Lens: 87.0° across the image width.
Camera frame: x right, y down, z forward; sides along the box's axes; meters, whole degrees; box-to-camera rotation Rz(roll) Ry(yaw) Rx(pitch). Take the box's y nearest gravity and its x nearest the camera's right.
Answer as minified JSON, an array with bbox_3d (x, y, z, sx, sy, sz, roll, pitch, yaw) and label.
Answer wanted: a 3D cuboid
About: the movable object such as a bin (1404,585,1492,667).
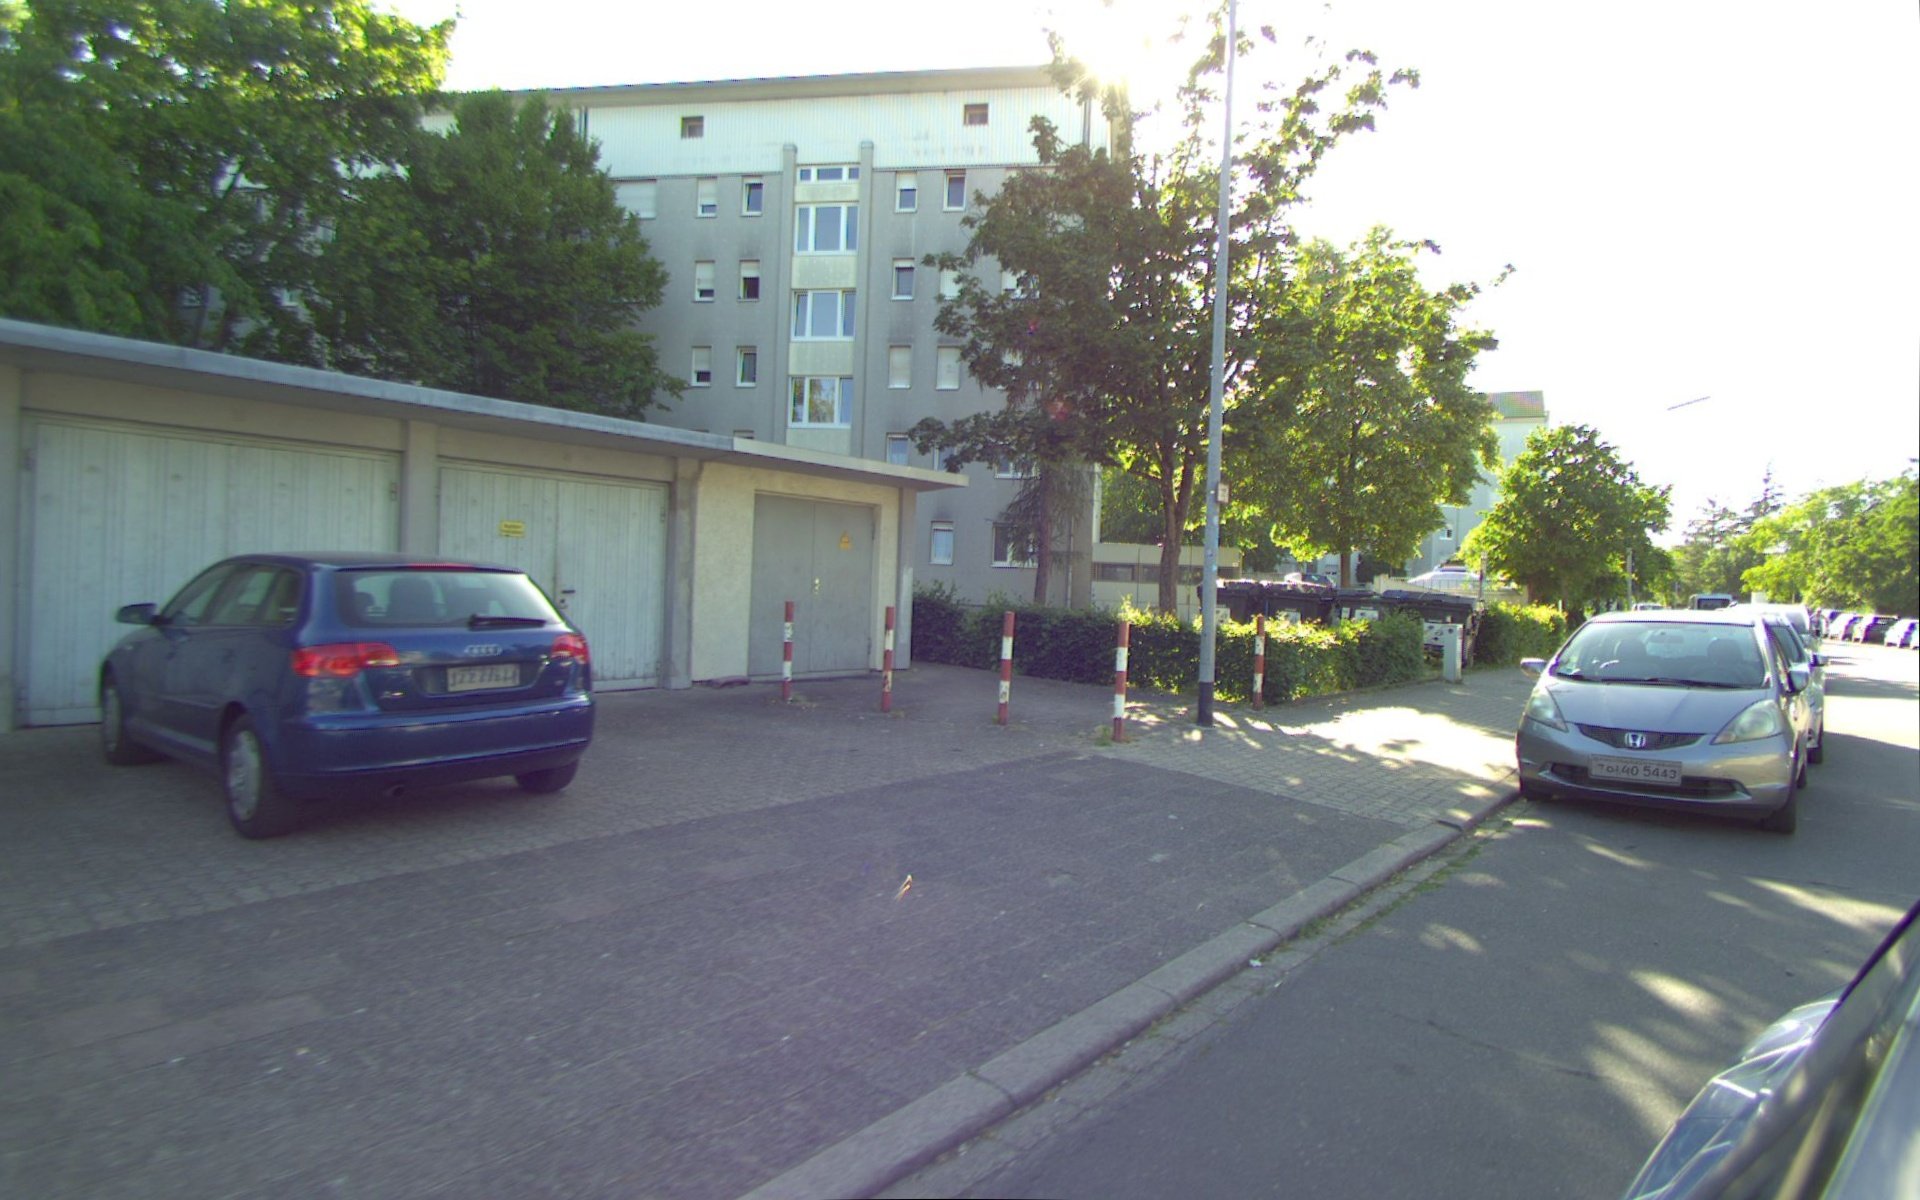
[{"bbox_3d":[9.581,0.482,19.870,1.321,1.445,1.056,6,3,35],"label":"movable object such as a bin"}]

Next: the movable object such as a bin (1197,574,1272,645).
[{"bbox_3d":[6.082,0.189,22.426,1.318,1.499,1.016,2,1,35],"label":"movable object such as a bin"}]

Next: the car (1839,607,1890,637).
[{"bbox_3d":[55.342,1.313,61.945,1.647,1.650,3.647,4,2,32],"label":"car"}]

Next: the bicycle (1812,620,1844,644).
[{"bbox_3d":[35.454,1.286,41.364,0.820,0.912,2.173,2,1,37],"label":"bicycle"}]

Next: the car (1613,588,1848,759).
[{"bbox_3d":[9.175,0.706,11.883,1.830,1.565,4.570,2,1,42],"label":"car"}]

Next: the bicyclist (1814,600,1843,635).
[{"bbox_3d":[35.483,0.709,41.356,0.808,1.373,1.076,2,1,37],"label":"bicyclist"}]

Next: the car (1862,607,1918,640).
[{"bbox_3d":[52.369,1.303,57.042,1.648,1.650,4.021,4,2,34],"label":"car"}]

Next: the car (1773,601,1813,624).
[{"bbox_3d":[63.919,0.910,77.714,1.645,1.586,3.652,4,2,29],"label":"car"}]

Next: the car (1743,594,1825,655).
[{"bbox_3d":[25.573,0.708,31.509,1.750,1.695,4.354,2,1,37],"label":"car"}]

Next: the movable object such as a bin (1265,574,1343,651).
[{"bbox_3d":[7.340,0.248,21.608,1.320,1.556,1.016,2,1,35],"label":"movable object such as a bin"}]

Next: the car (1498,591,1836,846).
[{"bbox_3d":[5.876,0.737,8.220,1.803,1.513,3.737,2,1,42],"label":"car"}]

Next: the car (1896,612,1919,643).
[{"bbox_3d":[48.461,1.409,50.681,1.648,1.496,3.691,4,2,33],"label":"car"}]

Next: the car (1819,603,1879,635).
[{"bbox_3d":[58.707,1.206,66.901,1.871,1.891,5.381,4,2,30],"label":"car"}]

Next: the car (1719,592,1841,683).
[{"bbox_3d":[17.240,0.714,21.207,1.753,1.647,4.427,2,1,42],"label":"car"}]

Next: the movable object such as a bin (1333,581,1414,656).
[{"bbox_3d":[8.493,0.359,20.781,1.320,1.449,1.016,2,1,35],"label":"movable object such as a bin"}]

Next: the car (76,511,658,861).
[{"bbox_3d":[-3.920,0.305,6.398,4.175,1.513,1.792,2,1,39],"label":"car"}]
